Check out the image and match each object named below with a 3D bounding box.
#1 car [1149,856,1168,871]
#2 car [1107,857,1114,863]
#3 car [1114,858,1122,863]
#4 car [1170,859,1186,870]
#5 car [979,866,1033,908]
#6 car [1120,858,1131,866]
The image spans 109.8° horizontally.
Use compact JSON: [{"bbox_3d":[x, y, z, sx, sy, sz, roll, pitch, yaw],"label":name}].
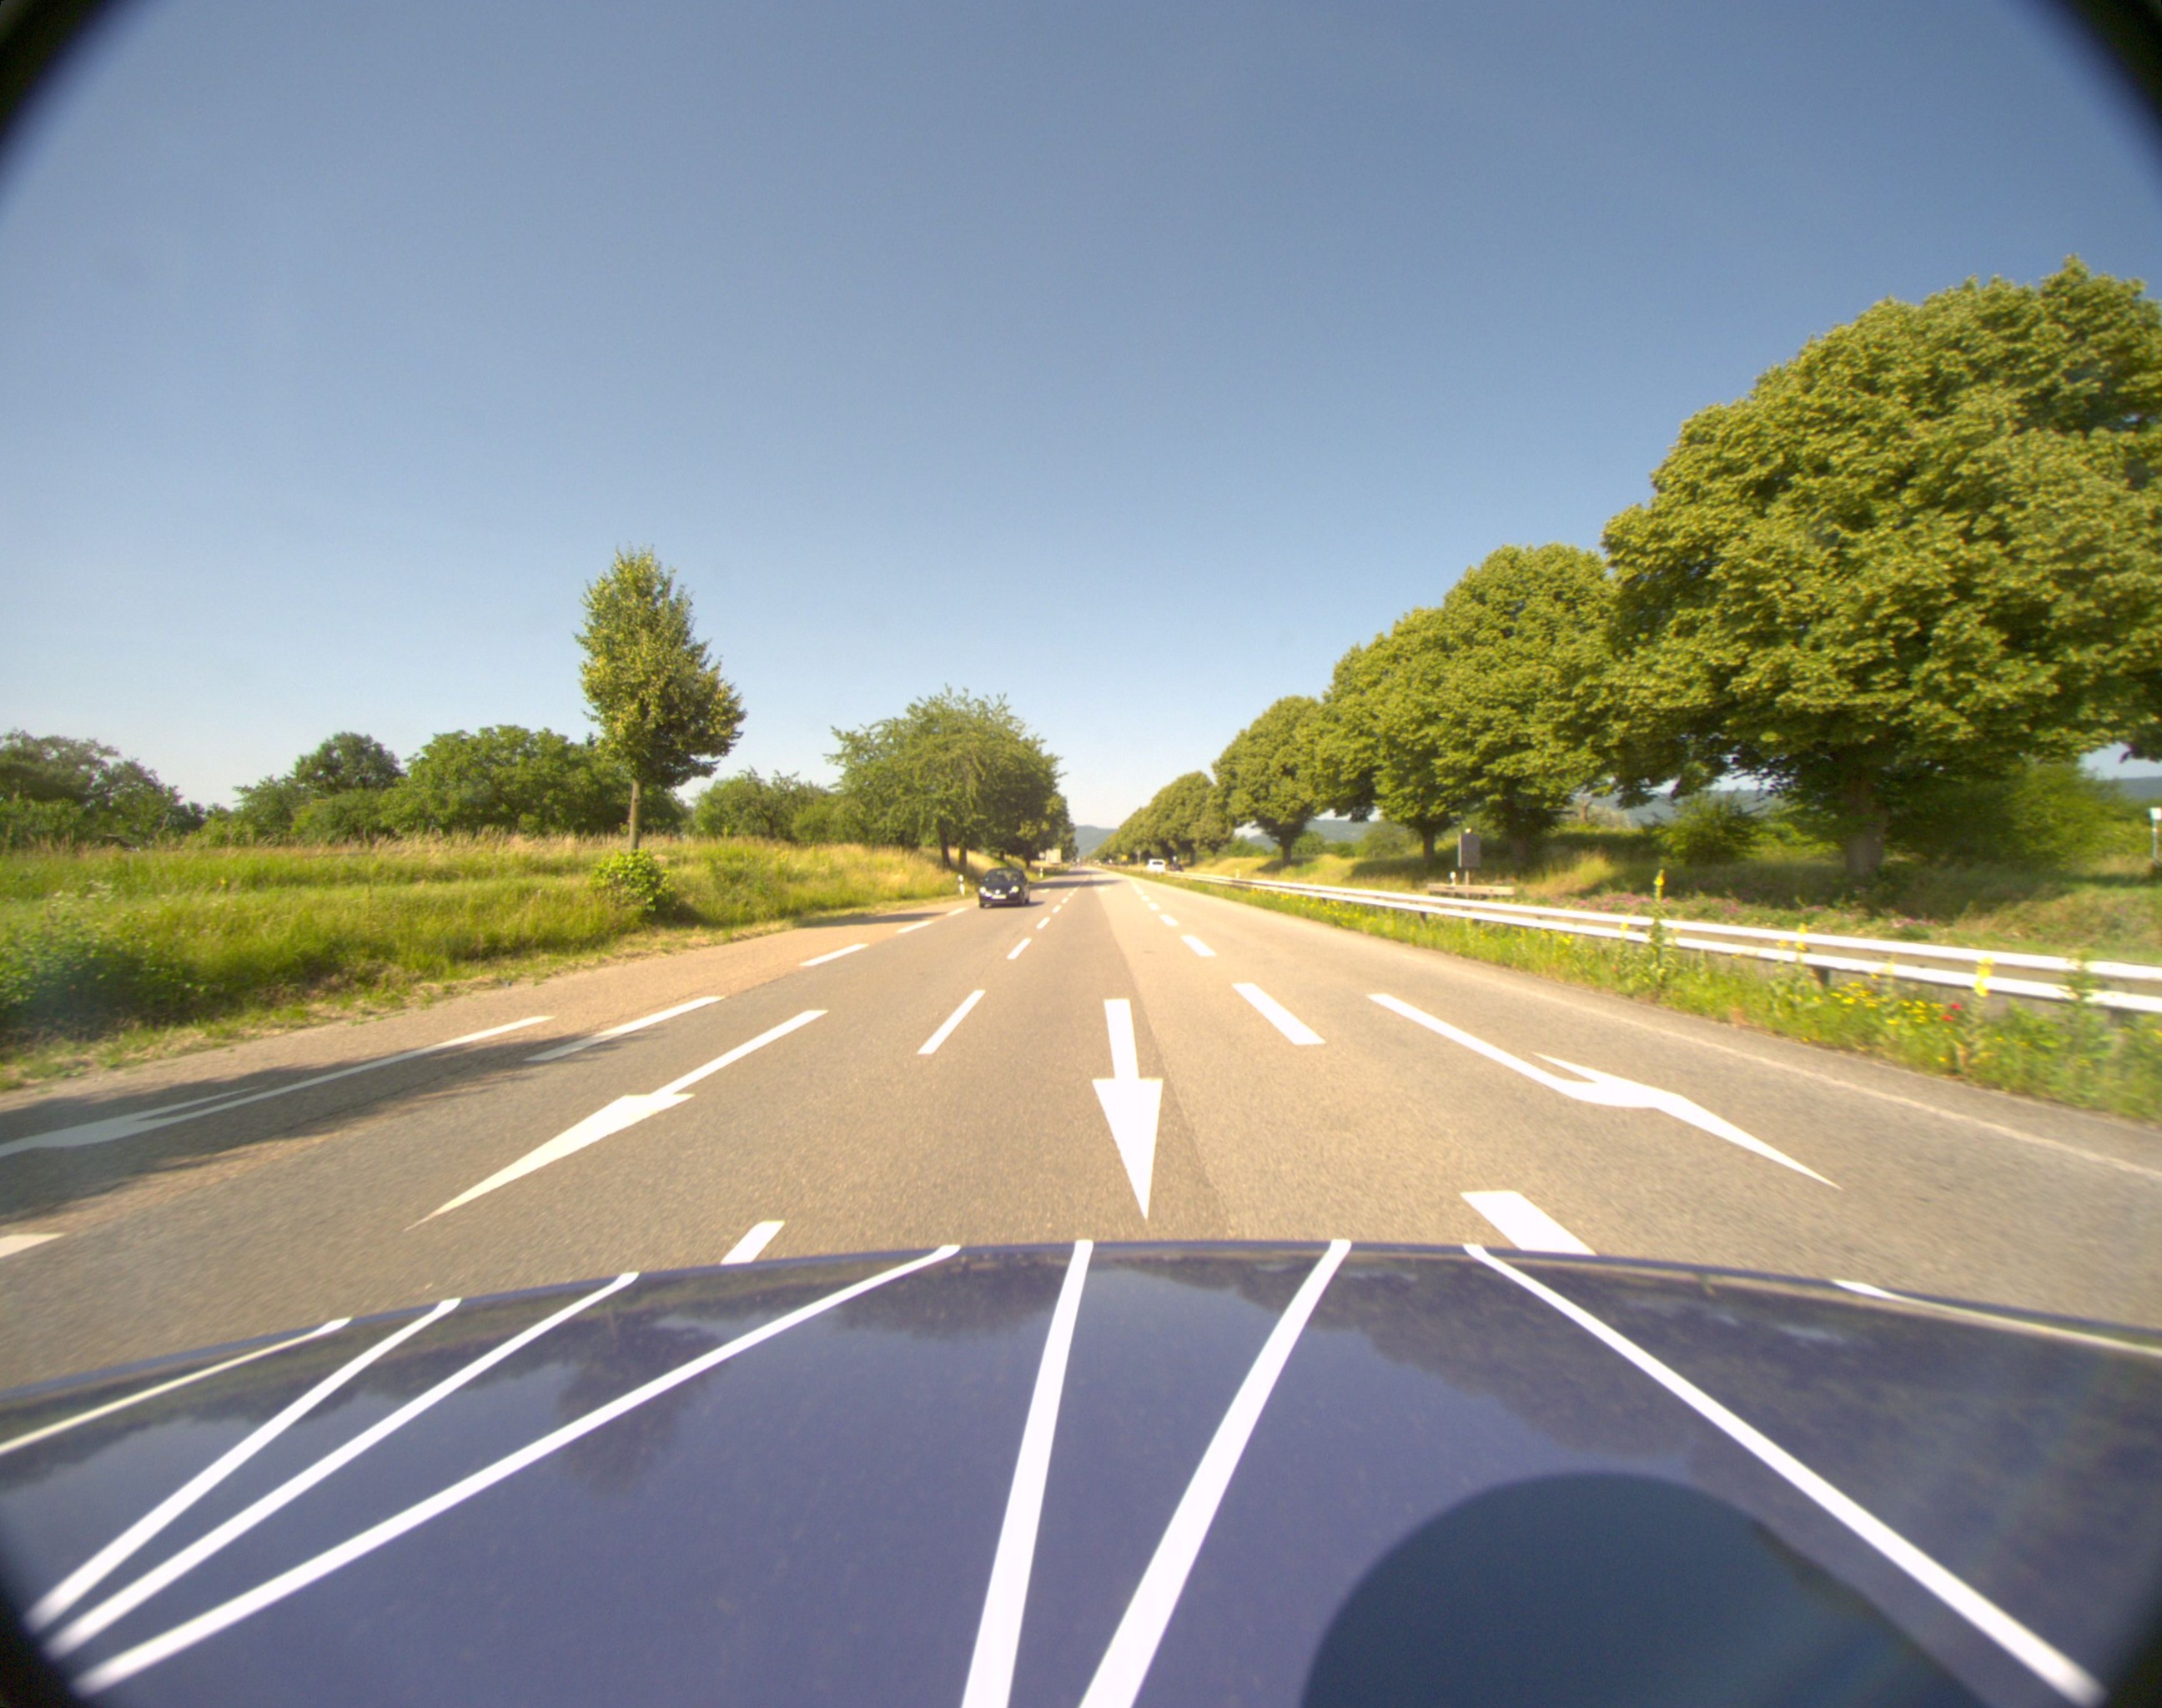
[{"bbox_3d":[9.447,1.157,93.021,1.998,1.791,4.000,0,0,1],"label":"car"},{"bbox_3d":[9.164,1.923,233.023,1.998,1.606,3.999,-2,1,0],"label":"car"},{"bbox_3d":[9.529,1.685,197.565,1.933,1.521,4.000,0,0,1],"label":"car"},{"bbox_3d":[13.177,1.455,103.472,1.726,1.455,3.700,1,0,1],"label":"car"},{"bbox_3d":[-2.766,1.196,28.642,1.629,1.425,3.622,-1,0,0],"label":"car"},{"bbox_3d":[9.062,1.712,155.424,1.933,1.521,3.999,2,0,-1],"label":"car"}]
